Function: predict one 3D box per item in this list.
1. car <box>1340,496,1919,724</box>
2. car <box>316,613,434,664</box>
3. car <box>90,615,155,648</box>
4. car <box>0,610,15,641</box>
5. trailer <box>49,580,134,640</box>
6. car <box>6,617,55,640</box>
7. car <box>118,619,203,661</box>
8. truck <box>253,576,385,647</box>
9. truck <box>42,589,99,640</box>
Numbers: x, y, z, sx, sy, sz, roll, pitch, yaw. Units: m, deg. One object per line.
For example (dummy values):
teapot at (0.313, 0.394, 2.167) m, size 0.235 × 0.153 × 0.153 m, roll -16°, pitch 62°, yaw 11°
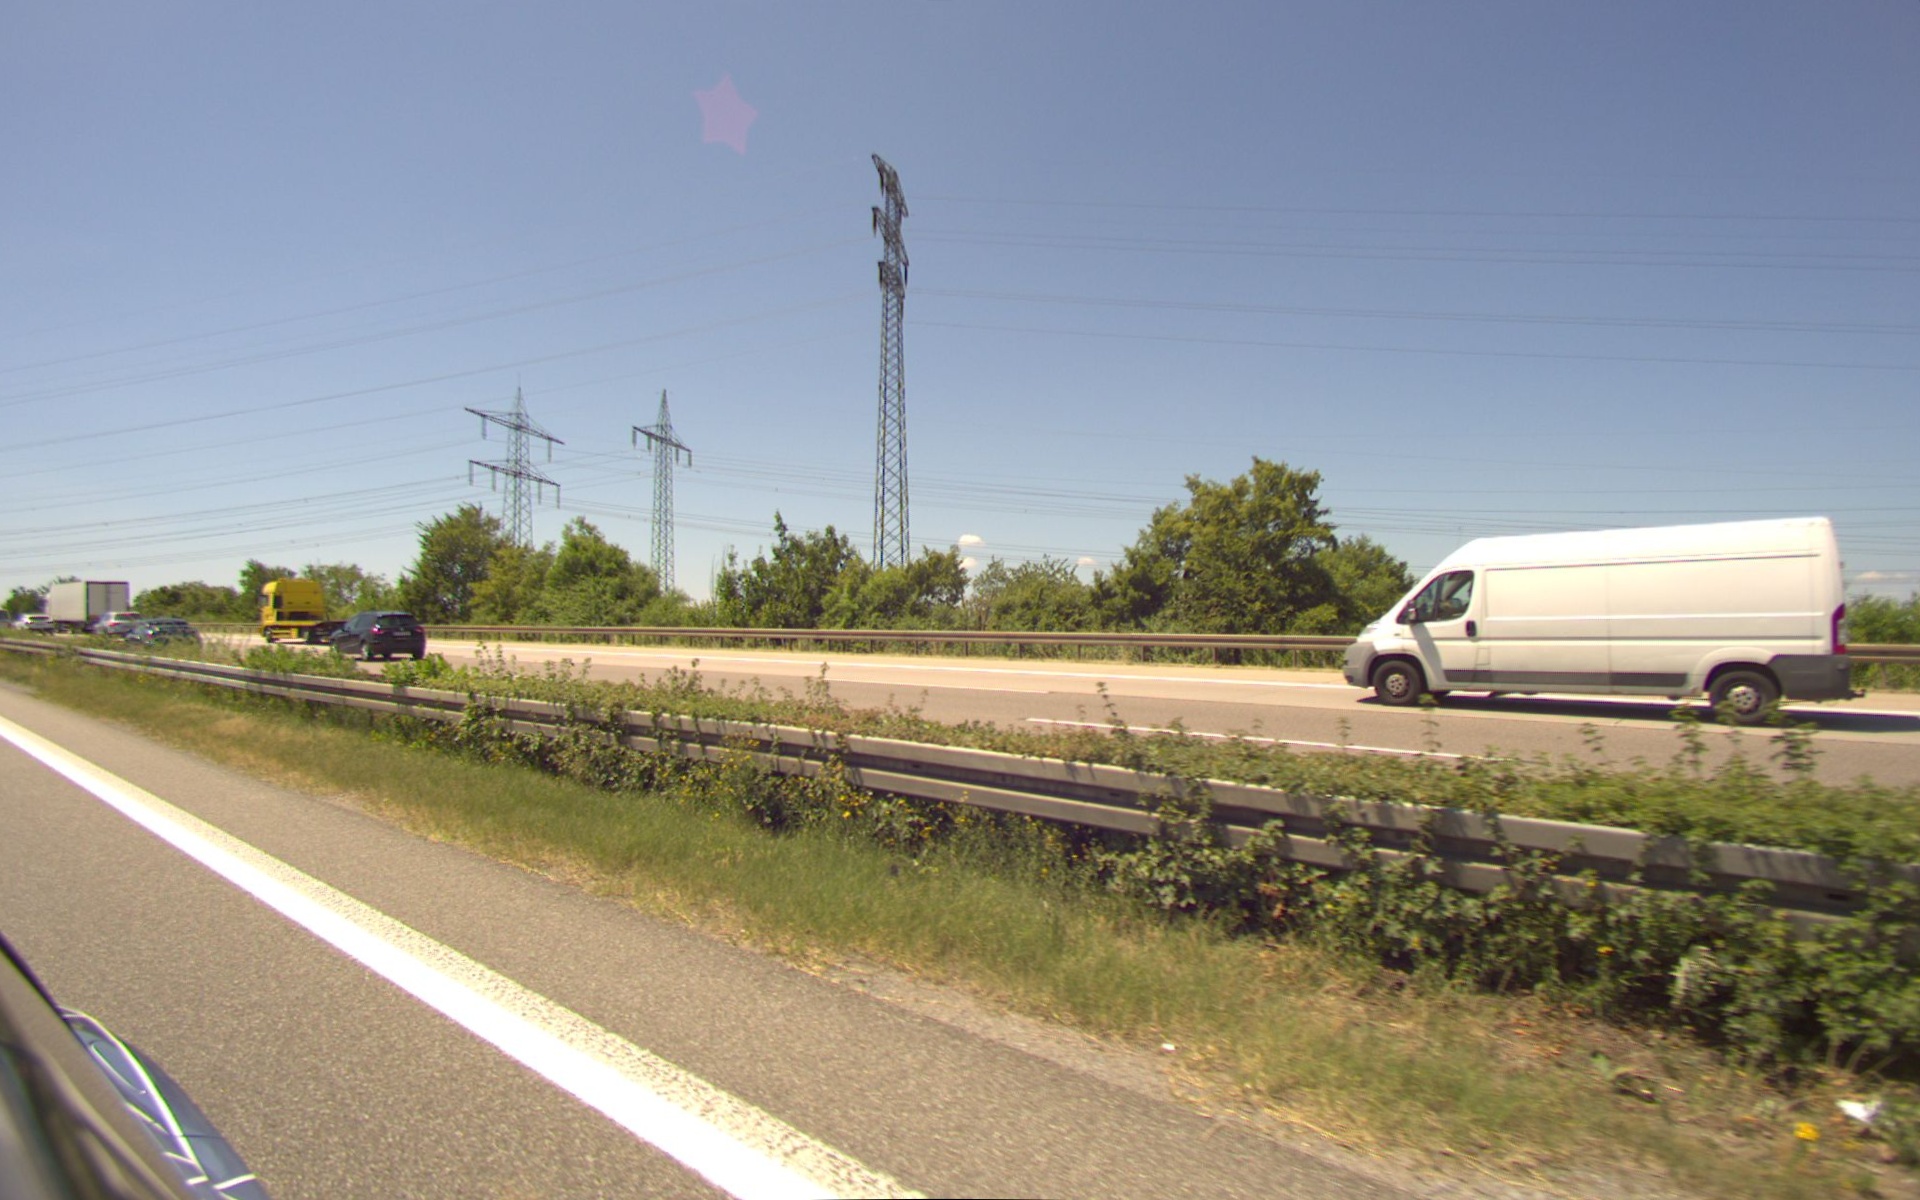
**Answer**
car at (8.804, 0.156, 13.964) m, size 6.331 × 2.496 × 2.109 m, roll -1°, pitch -1°, yaw 41°
car at (-18.757, 1.194, 32.384) m, size 4.232 × 1.521 × 1.959 m, roll -1°, pitch -1°, yaw 40°
car at (-46.711, 1.749, 56.425) m, size 4.810 × 1.749 × 1.973 m, roll -1°, pitch -1°, yaw 40°
car at (-61.284, 1.612, 63.692) m, size 5.717 × 1.896 × 1.973 m, roll -1°, pitch -1°, yaw 40°
trailer at (-69.583, 0.896, 80.912) m, size 13.622 × 4.290 × 2.807 m, roll -3°, pitch -2°, yaw 39°
car at (-67.525, 2.052, 73.519) m, size 4.722 × 1.560 × 1.974 m, roll -1°, pitch -1°, yaw 39°
car at (-28.006, 1.375, 35.406) m, size 3.826 × 1.364 × 1.615 m, roll -1°, pitch -1°, yaw 40°
truck at (-31.105, 0.588, 48.898) m, size 9.657 × 3.176 × 2.496 m, roll -1°, pitch -1°, yaw 39°
truck at (-75.122, 1.262, 85.457) m, size 5.160 × 4.112 × 2.803 m, roll -3°, pitch -2°, yaw 39°
